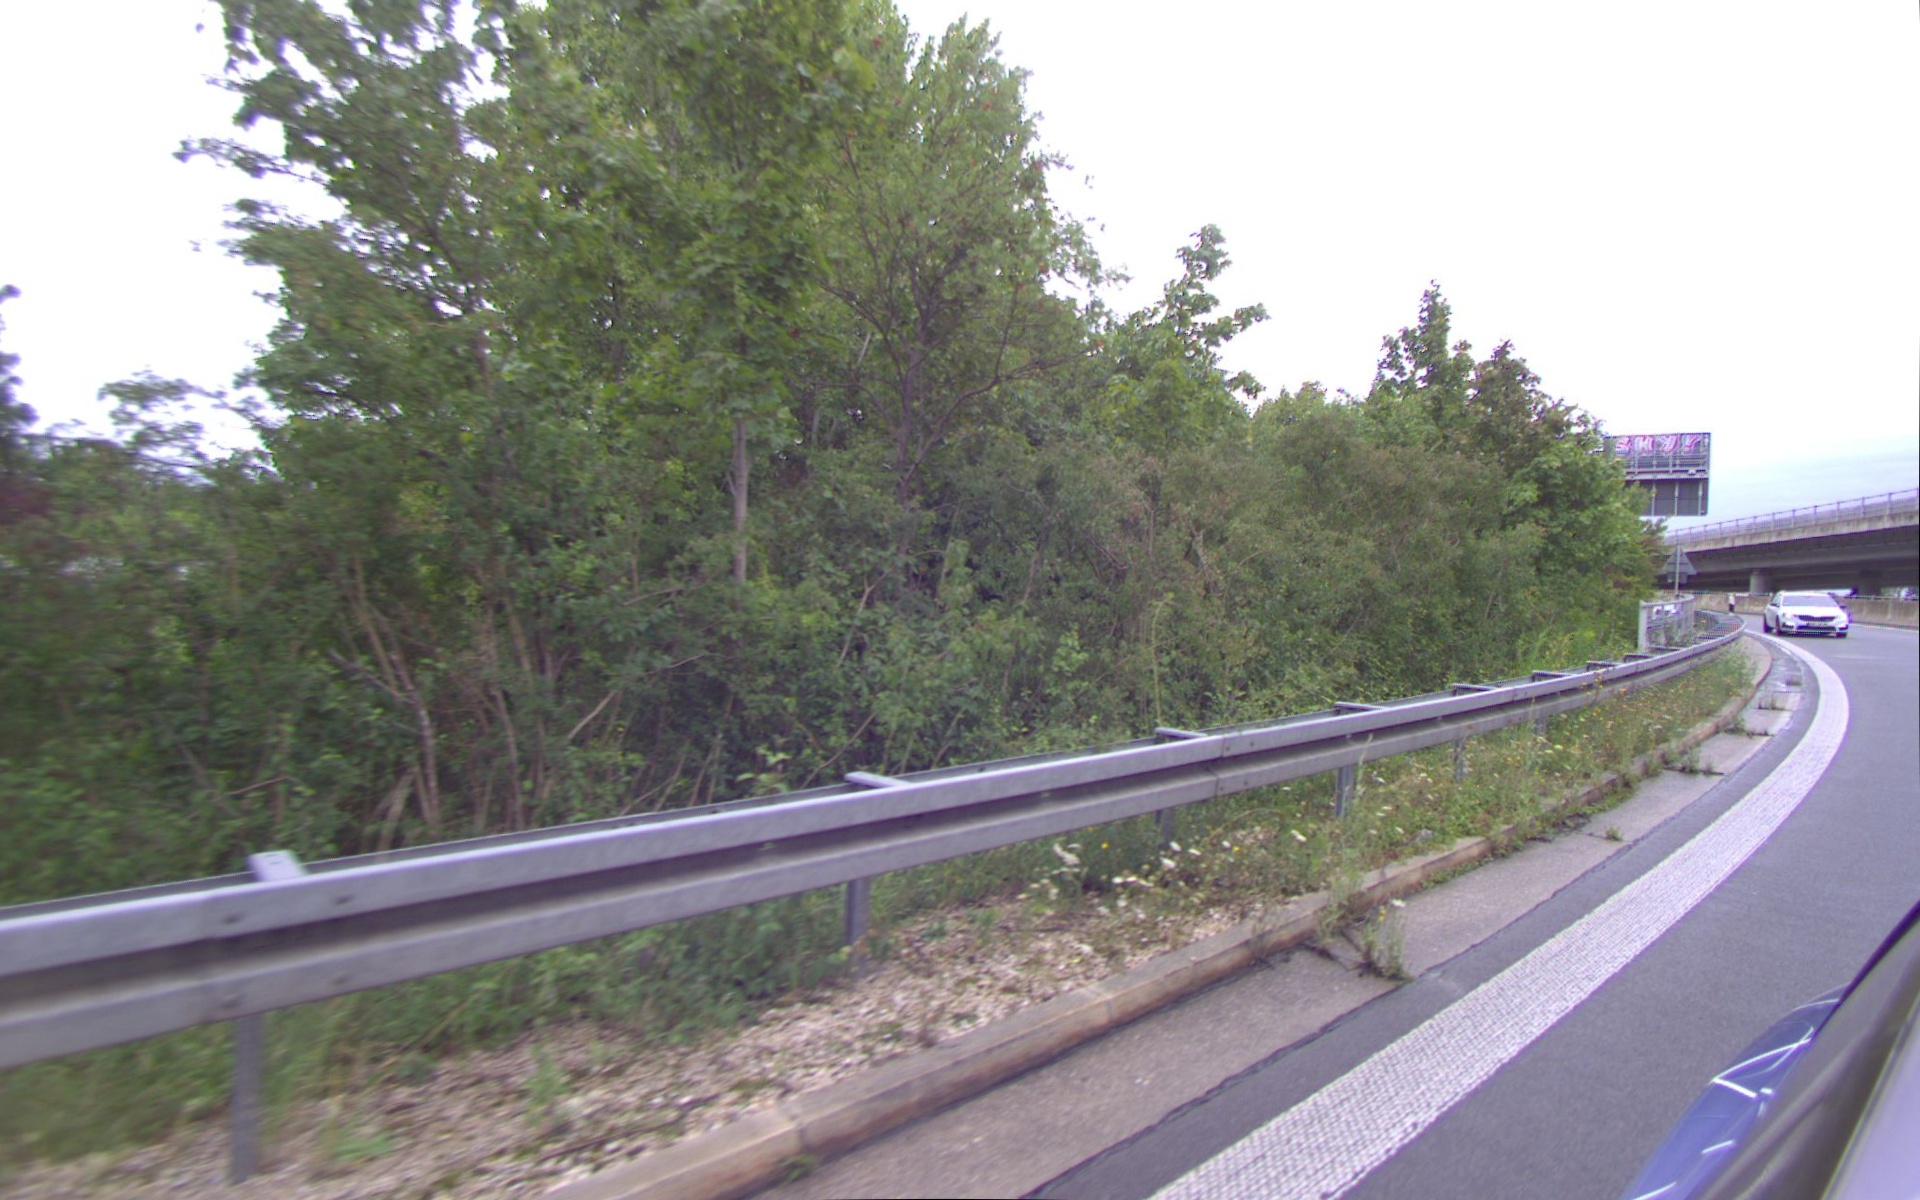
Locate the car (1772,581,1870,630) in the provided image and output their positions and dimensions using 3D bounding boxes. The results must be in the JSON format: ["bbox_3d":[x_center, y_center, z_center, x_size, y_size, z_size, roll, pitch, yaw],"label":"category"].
[{"bbox_3d":[28.558,0.132,33.717,1.903,1.465,4.502,2,2,33],"label":"car"}]
